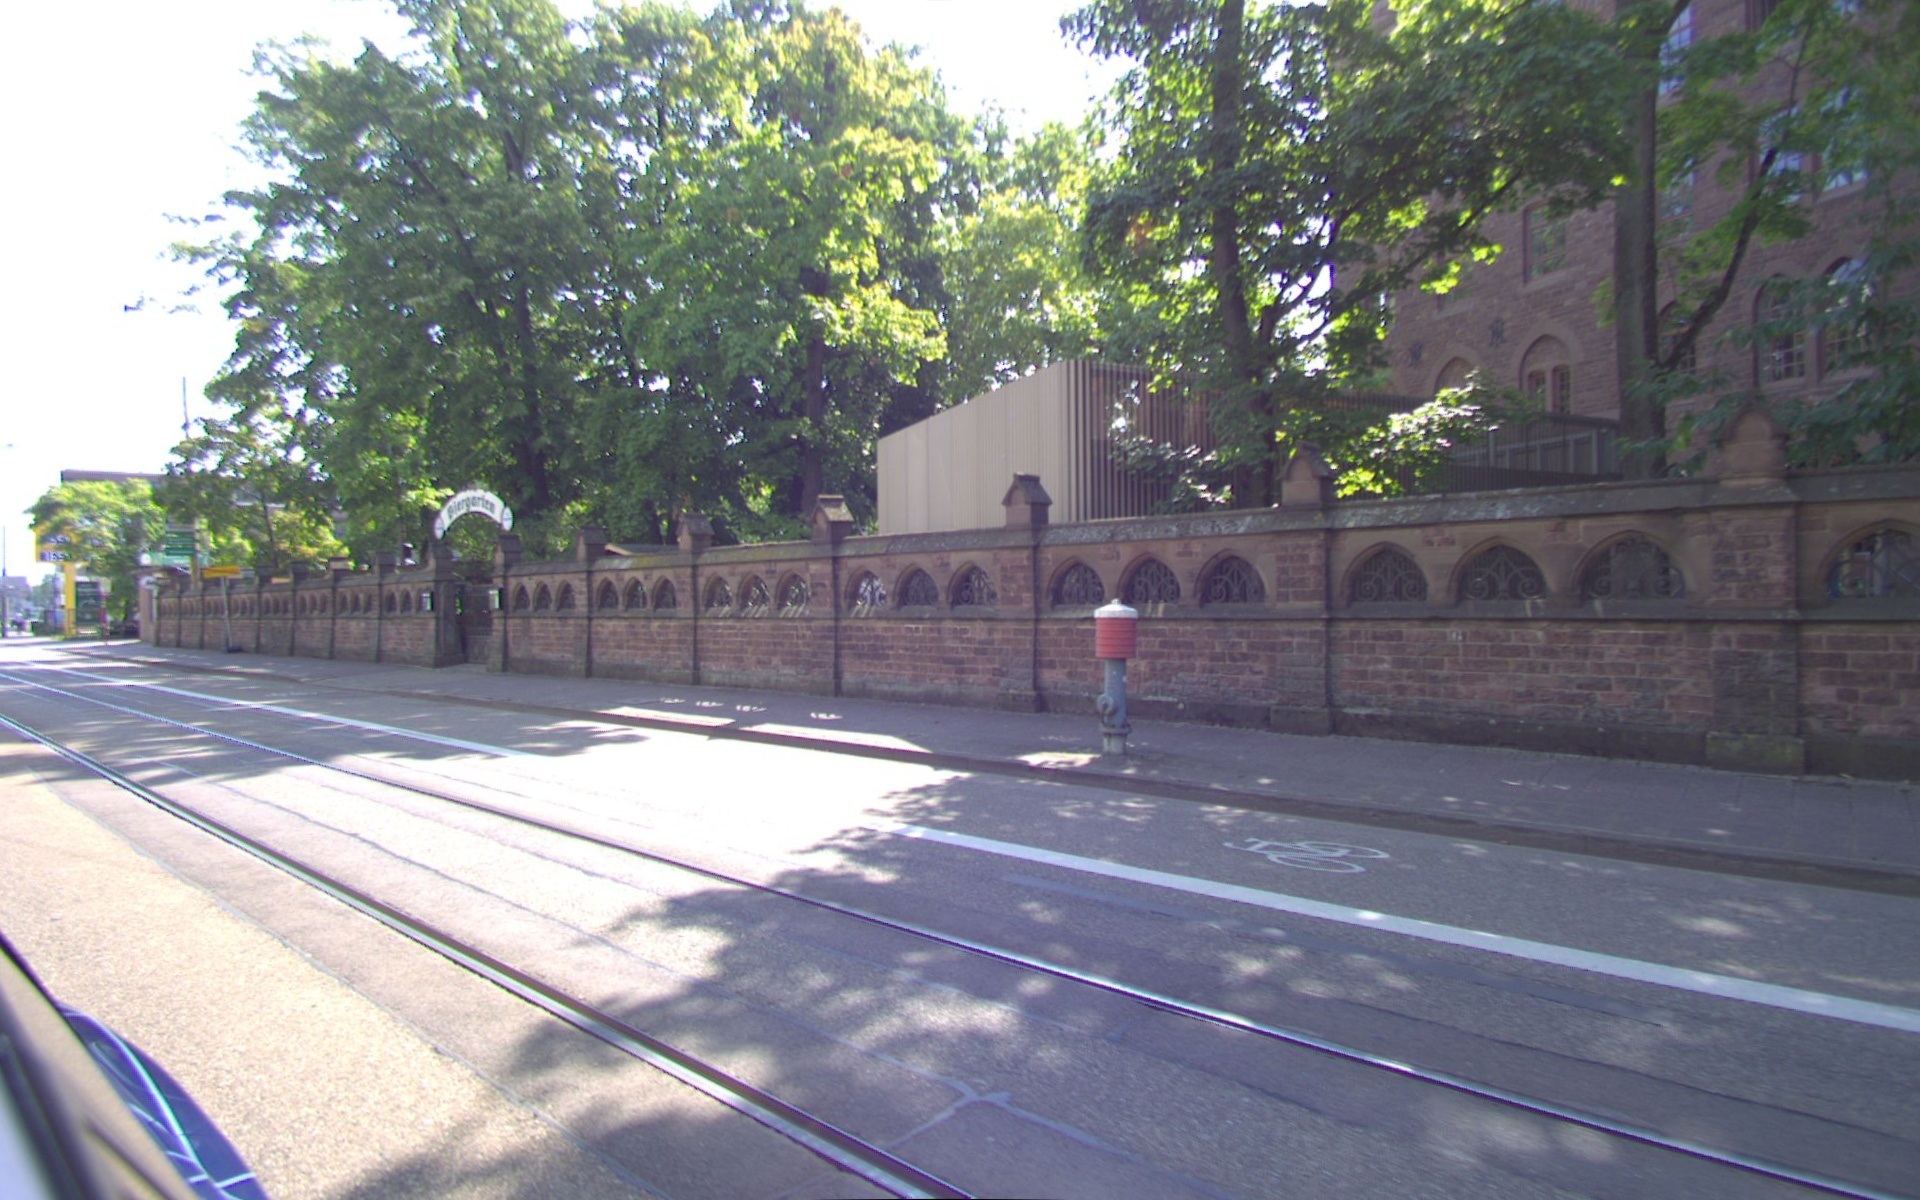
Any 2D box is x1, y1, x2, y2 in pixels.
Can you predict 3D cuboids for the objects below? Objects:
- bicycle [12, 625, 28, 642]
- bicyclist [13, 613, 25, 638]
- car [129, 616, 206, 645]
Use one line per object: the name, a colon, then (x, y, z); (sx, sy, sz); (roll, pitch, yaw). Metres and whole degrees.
bicycle: (-73.455, 2.604, 79.093); (0.776, 1.249, 2.037); (-1, 0, -39)
bicyclist: (-73.496, 1.987, 79.044); (0.633, 1.944, 1.177); (-1, 0, -40)
car: (-45.335, 1.712, 58.006); (1.905, 1.472, 4.540); (-1, 0, -15)
